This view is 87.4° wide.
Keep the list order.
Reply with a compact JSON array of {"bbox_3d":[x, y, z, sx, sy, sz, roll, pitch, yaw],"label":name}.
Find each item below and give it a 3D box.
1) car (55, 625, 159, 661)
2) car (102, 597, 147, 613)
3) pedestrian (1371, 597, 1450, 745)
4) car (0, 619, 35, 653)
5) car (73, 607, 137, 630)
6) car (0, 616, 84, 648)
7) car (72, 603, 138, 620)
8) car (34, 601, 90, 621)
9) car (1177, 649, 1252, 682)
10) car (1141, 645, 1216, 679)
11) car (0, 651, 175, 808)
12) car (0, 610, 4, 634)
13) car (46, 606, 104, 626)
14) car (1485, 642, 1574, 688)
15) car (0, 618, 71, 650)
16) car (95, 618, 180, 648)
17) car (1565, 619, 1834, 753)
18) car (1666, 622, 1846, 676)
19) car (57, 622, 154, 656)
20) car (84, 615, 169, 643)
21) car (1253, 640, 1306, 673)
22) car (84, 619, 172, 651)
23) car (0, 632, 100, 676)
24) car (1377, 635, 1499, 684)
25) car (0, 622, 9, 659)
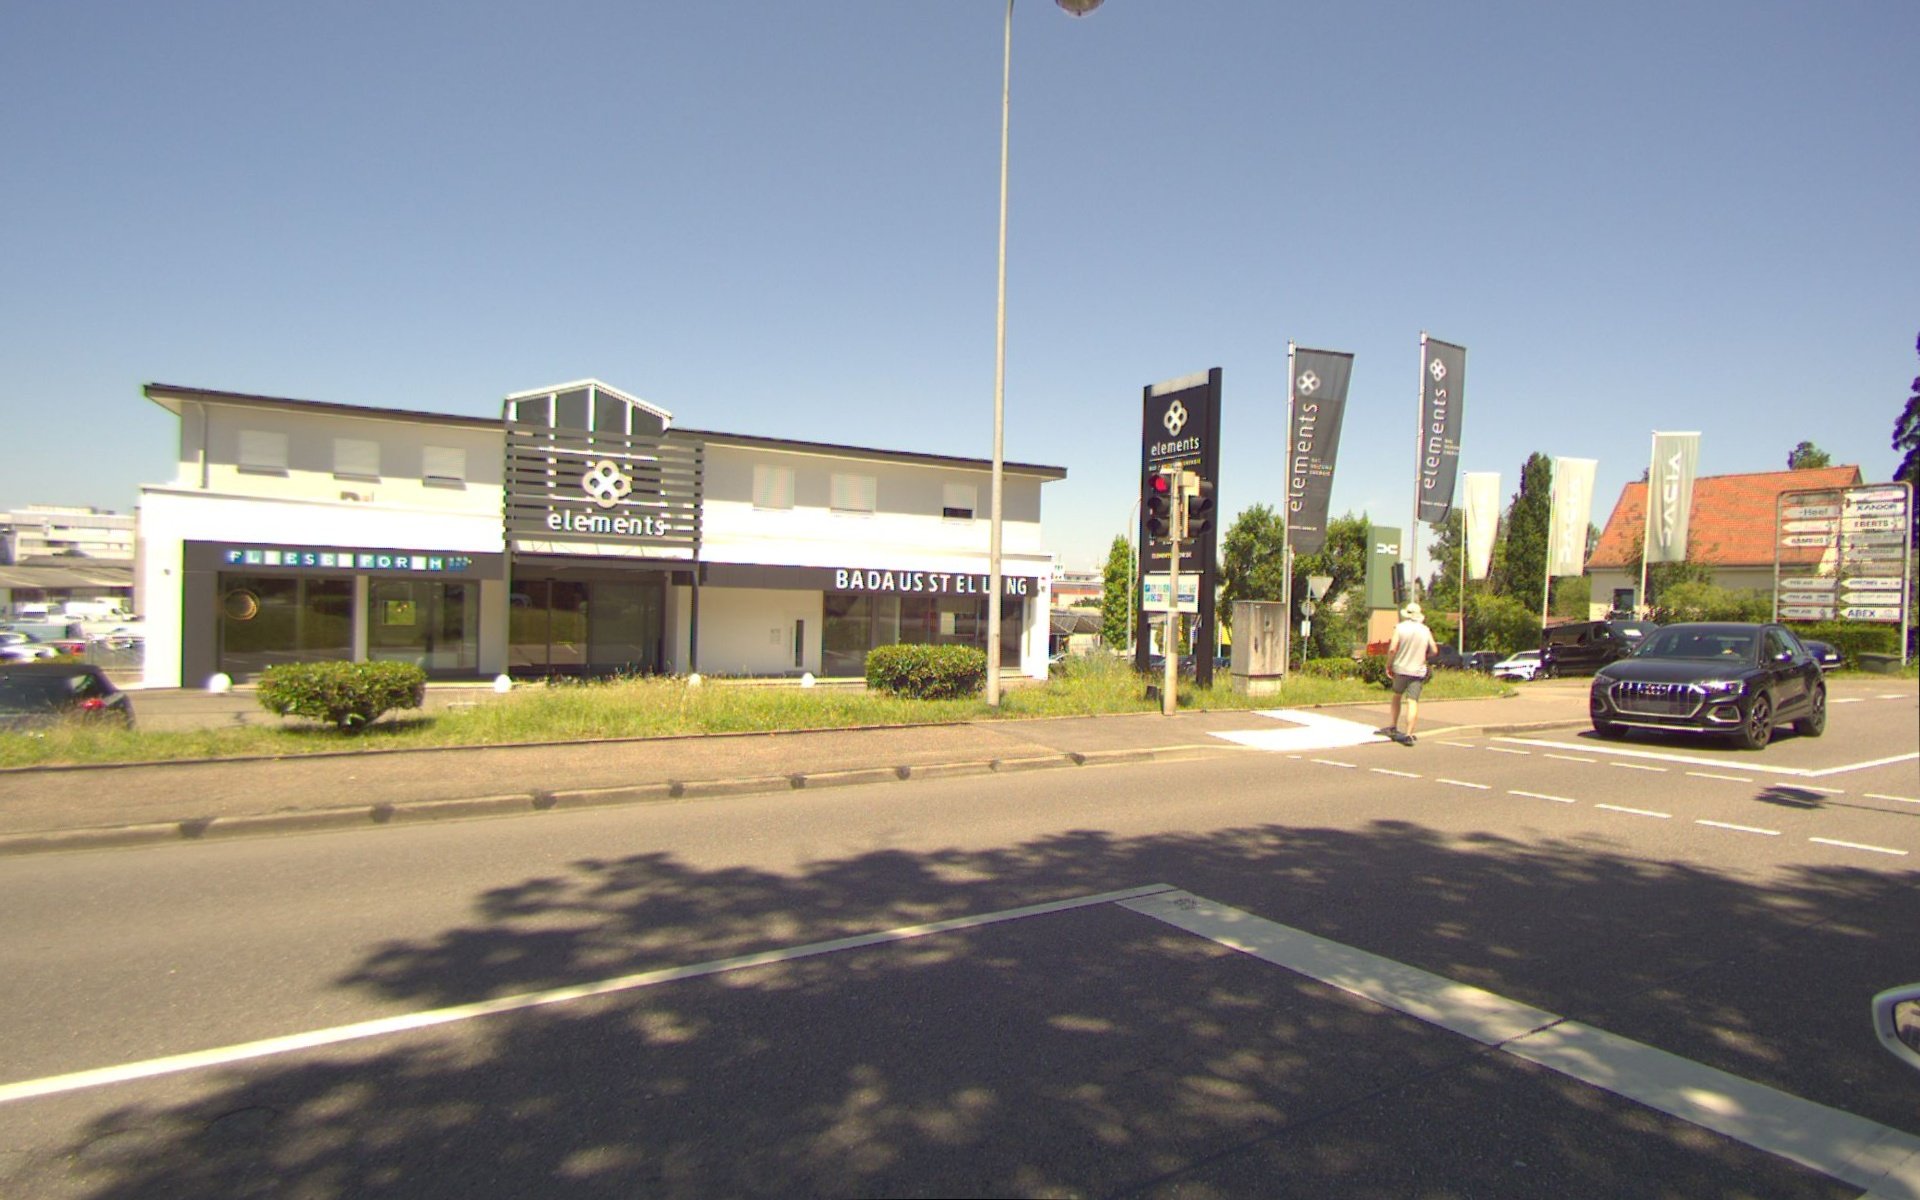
[{"bbox_3d":[-43.875,2.208,51.749,3.726,1.778,1.719,2,-1,-28],"label":"car"},{"bbox_3d":[-99.590,0.627,119.759,3.726,1.778,1.719,2,-1,-28],"label":"car"},{"bbox_3d":[5.583,0.870,12.471,0.689,1.785,0.545,1,0,-4],"label":"pedestrian"},{"bbox_3d":[-51.422,1.880,52.791,3.726,1.778,1.719,2,-1,-28],"label":"car"},{"bbox_3d":[-71.018,1.516,83.484,3.726,1.778,1.719,2,1,-28],"label":"car"},{"bbox_3d":[-54.833,1.911,59.793,3.726,1.778,1.719,2,-1,-28],"label":"car"},{"bbox_3d":[-95.804,1.312,112.606,5.236,1.778,2.051,2,-1,-28],"label":"car"},{"bbox_3d":[-88.080,1.105,98.558,3.726,1.778,1.719,1,3,-28],"label":"car"},{"bbox_3d":[12.105,3.066,47.624,3.840,1.434,1.632,2,-1,-43],"label":"car"},{"bbox_3d":[10.930,3.060,50.105,3.973,1.506,1.735,2,-1,-44],"label":"car"},{"bbox_3d":[-11.680,1.507,12.739,1.746,1.553,4.076,1,-1,-24],"label":"car"},{"bbox_3d":[-74.594,1.621,75.415,3.726,1.778,1.719,2,0,-28],"label":"car"},{"bbox_3d":[-82.878,1.473,94.079,3.724,1.779,1.719,0,3,-27],"label":"car"},{"bbox_3d":[23.936,2.682,42.175,4.053,1.744,1.795,2,0,-38],"label":"car"},{"bbox_3d":[-53.321,1.940,57.166,3.726,1.778,1.719,2,-1,-28],"label":"car"},{"bbox_3d":[-50.684,2.050,61.994,3.726,1.778,1.719,2,-1,-28],"label":"car"},{"bbox_3d":[10.452,1.096,14.105,4.263,1.576,1.912,2,-1,-37],"label":"car"},{"bbox_3d":[24.931,1.490,31.639,1.751,1.524,4.129,1,-1,-20],"label":"car"},{"bbox_3d":[-46.951,2.131,55.300,3.726,1.778,1.719,2,-1,-28],"label":"car"},{"bbox_3d":[-55.206,1.928,66.591,4.004,1.778,1.719,2,-1,-28],"label":"car"},{"bbox_3d":[18.815,3.285,59.093,1.785,1.744,4.075,1,0,36],"label":"car"},{"bbox_3d":[-49.408,2.076,59.726,3.726,1.778,1.719,2,-1,-28],"label":"car"},{"bbox_3d":[-39.623,2.294,43.163,3.726,1.778,1.719,2,-1,-28],"label":"car"},{"bbox_3d":[18.316,2.286,38.559,4.022,1.744,1.808,2,0,-16],"label":"car"},{"bbox_3d":[-49.203,1.967,48.967,3.726,1.778,1.719,2,-1,-28],"label":"car"}]
